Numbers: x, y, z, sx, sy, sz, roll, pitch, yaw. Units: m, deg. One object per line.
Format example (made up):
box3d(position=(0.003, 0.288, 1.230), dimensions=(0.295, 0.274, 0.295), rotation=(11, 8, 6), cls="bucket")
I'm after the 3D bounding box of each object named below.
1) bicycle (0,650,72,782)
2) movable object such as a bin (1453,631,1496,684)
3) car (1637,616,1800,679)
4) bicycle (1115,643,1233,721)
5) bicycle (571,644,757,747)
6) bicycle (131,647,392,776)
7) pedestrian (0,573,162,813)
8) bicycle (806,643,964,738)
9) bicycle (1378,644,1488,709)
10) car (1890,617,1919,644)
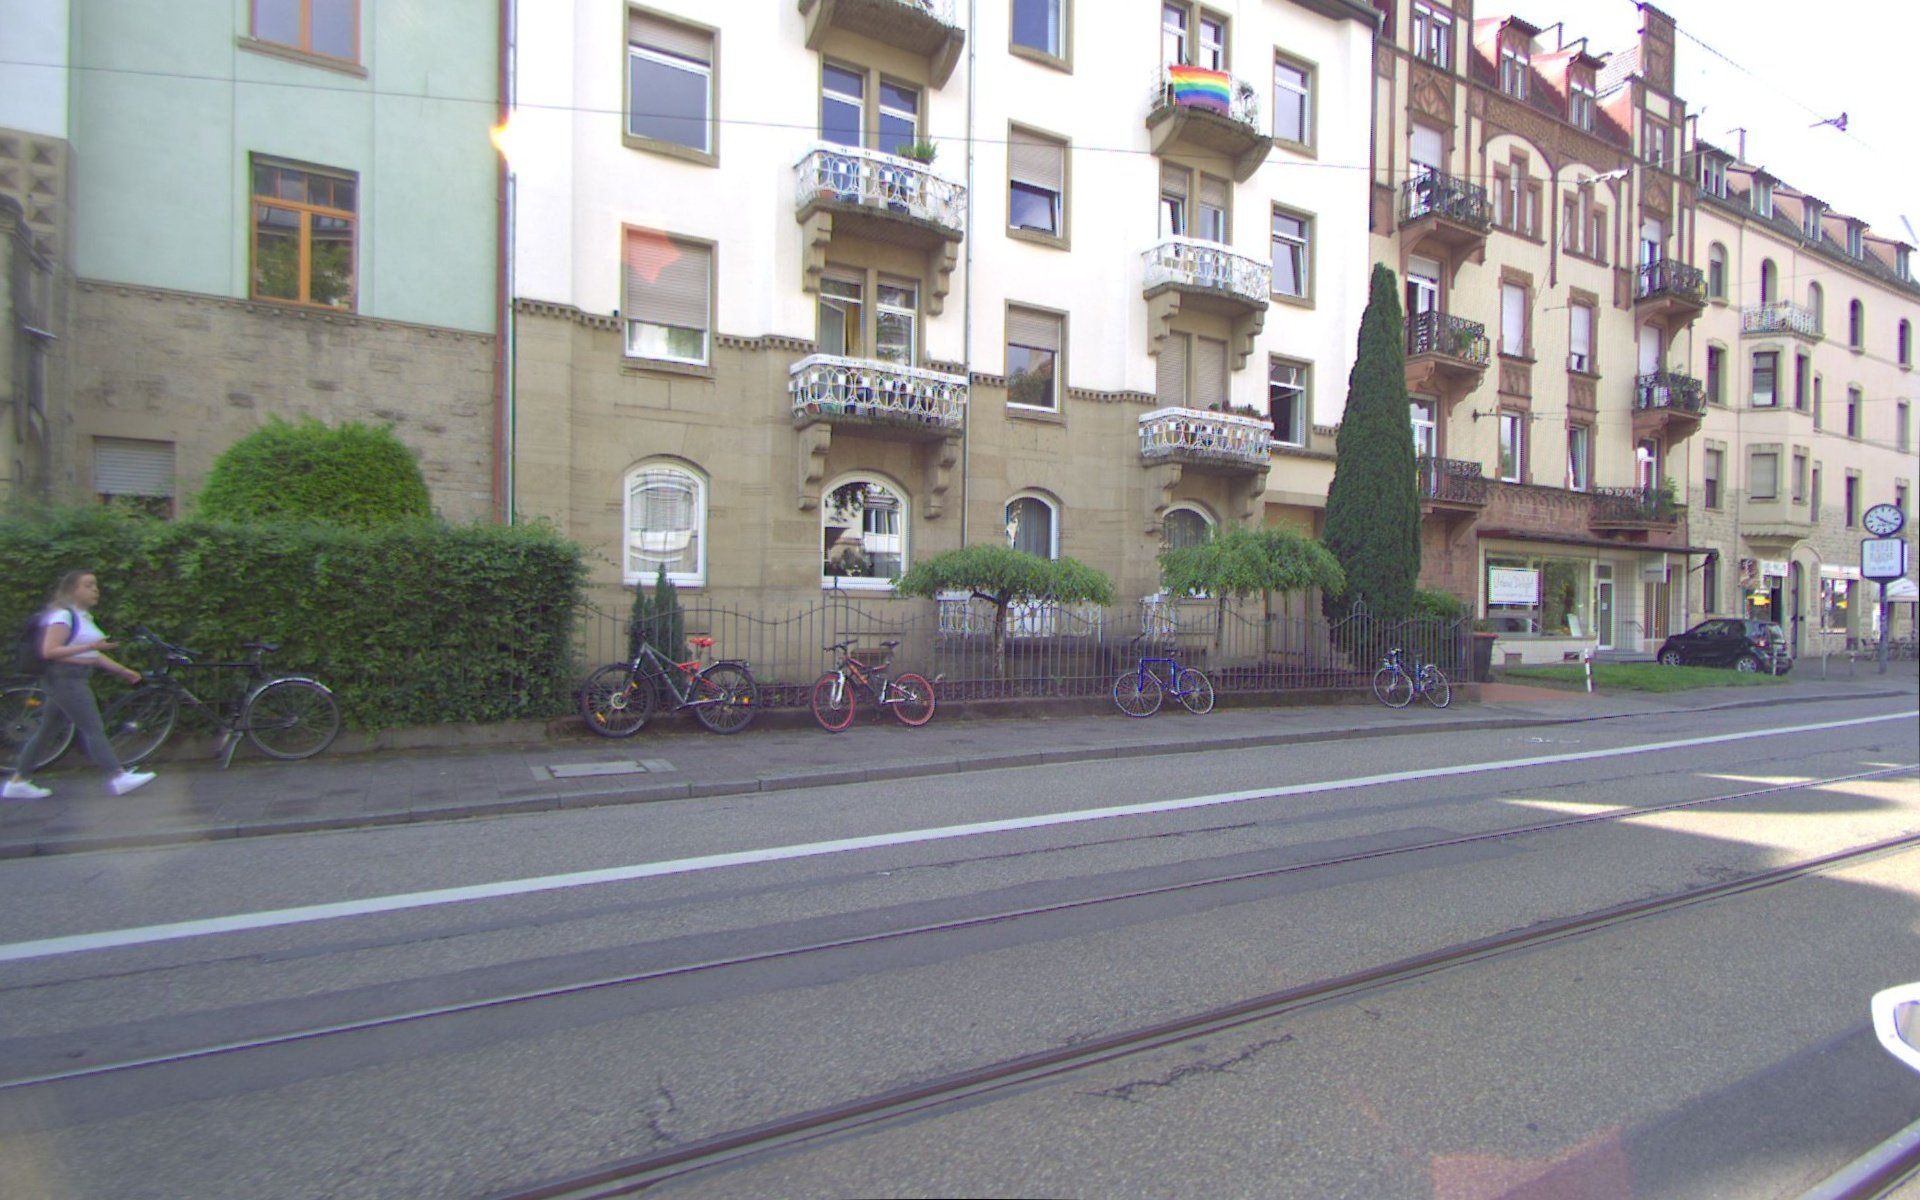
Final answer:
box3d(position=(-7.918, 0.880, 7.491), dimensions=(1.897, 0.972, 0.381), rotation=(1, 1, -29), cls="bicycle")
box3d(position=(11.237, 1.240, 21.956), dimensions=(0.595, 1.084, 0.597), rotation=(2, 2, 4), cls="movable object such as a bin")
box3d(position=(21.187, 1.291, 28.160), dimensions=(1.657, 1.533, 3.225), rotation=(2, 1, -26), cls="car")
box3d(position=(2.917, 1.091, 13.624), dimensions=(1.684, 0.972, 0.424), rotation=(1, 1, -29), cls="bicycle")
box3d(position=(-3.015, 0.949, 10.299), dimensions=(1.779, 0.972, 0.381), rotation=(1, 1, -29), cls="bicycle")
box3d(position=(-5.852, 0.905, 8.534), dimensions=(1.780, 0.972, 0.449), rotation=(1, 1, -31), cls="bicycle")
box3d(position=(-6.287, 0.620, 7.107), dimensions=(0.871, 1.589, 0.677), rotation=(1, 1, -28), cls="pedestrian")
box3d(position=(-0.837, 1.000, 11.431), dimensions=(1.779, 0.988, 0.381), rotation=(1, 1, -29), cls="bicycle")
box3d(position=(7.698, 1.243, 16.334), dimensions=(1.790, 0.972, 0.510), rotation=(3, 1, -23), cls="bicycle")
box3d(position=(77.404, 2.420, 80.242), dimensions=(1.969, 2.039, 4.117), rotation=(1, -4, -20), cls="car")
